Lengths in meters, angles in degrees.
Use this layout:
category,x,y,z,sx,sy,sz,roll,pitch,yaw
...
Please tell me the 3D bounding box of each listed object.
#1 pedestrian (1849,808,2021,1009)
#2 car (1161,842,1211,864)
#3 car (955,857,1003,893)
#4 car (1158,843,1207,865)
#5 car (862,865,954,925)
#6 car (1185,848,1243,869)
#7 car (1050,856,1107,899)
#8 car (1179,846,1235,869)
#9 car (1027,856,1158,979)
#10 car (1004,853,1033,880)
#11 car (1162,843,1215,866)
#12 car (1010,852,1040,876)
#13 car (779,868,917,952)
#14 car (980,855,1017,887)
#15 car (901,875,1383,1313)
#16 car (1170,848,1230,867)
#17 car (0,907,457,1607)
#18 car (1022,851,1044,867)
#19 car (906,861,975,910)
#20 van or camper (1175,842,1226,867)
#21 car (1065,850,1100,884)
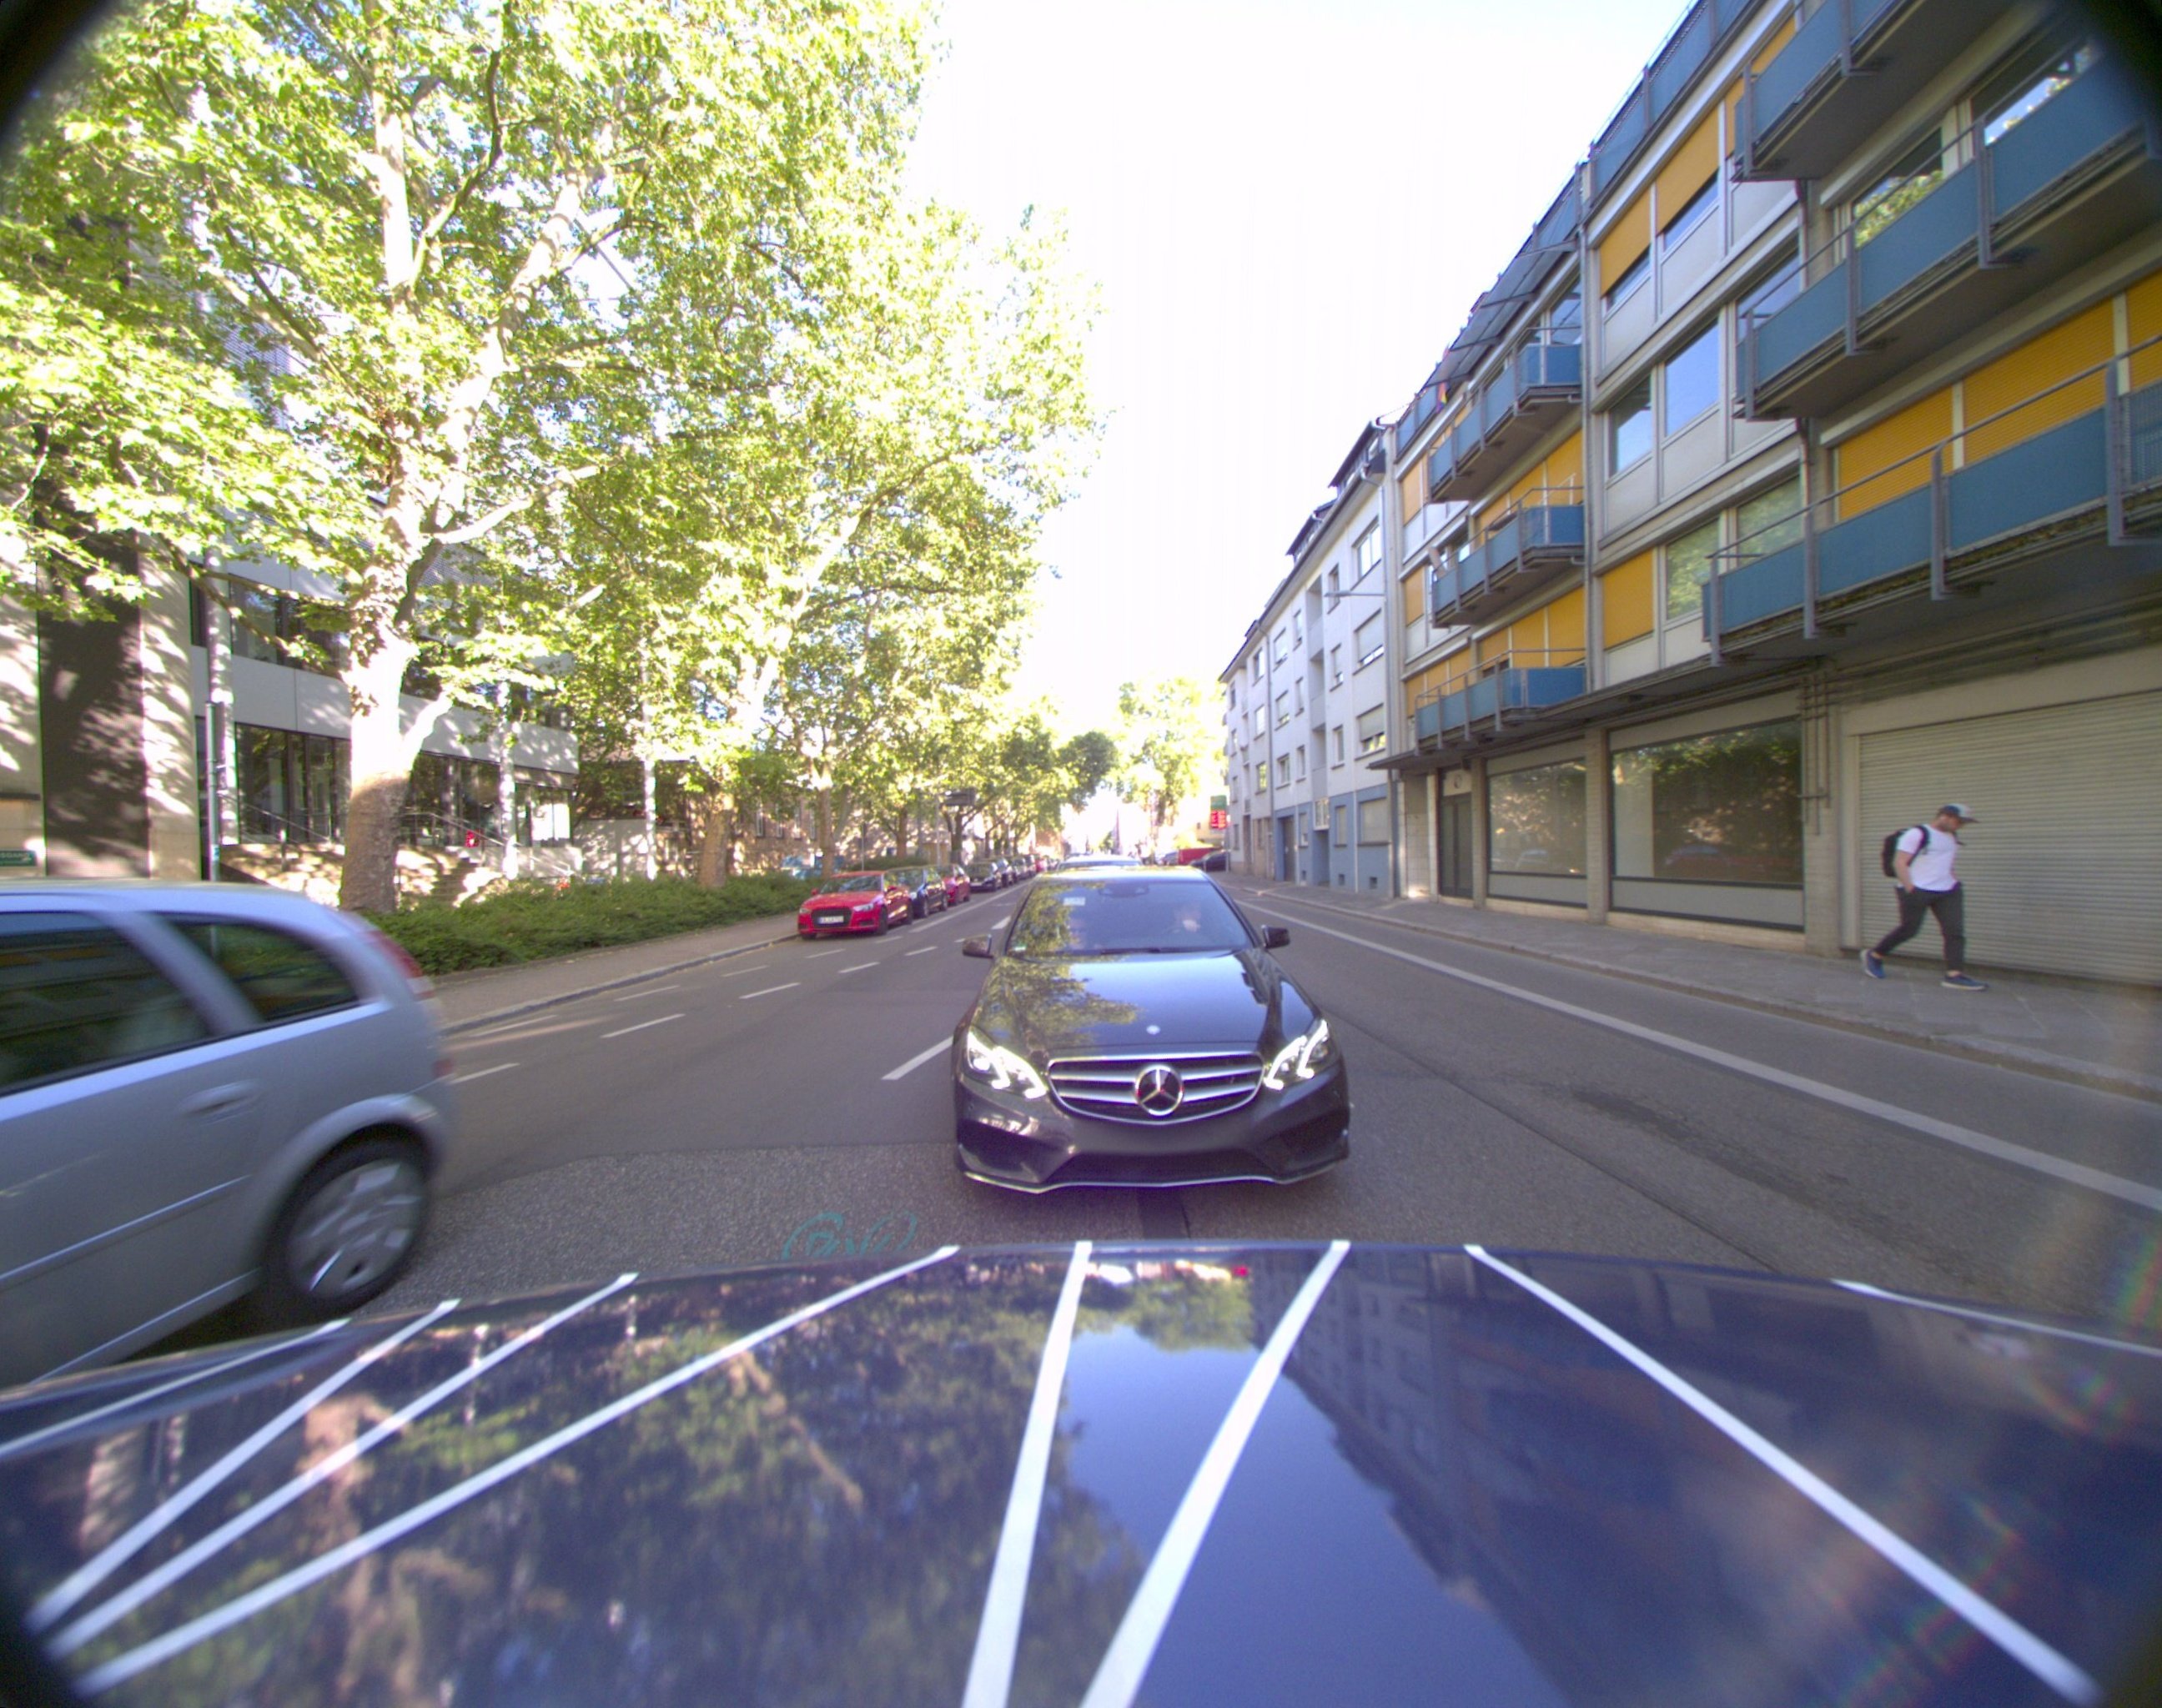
category,x,y,z,sx,sy,sz,roll,pitch,yaw
pedestrian,8.185,0.495,7.322,0.601,1.790,0.879,-3,1,1
car,11.033,-0.093,80.195,4.990,2.181,2.000,-2,1,1
car,-4.960,0.994,37.427,1.741,1.622,4.091,-2,0,0
car,11.037,0.000,82.826,4.990,2.181,2.000,-2,1,1
car,-5.027,1.138,22.603,1.741,1.444,4.091,-4,0,0
car,10.314,0.330,58.965,4.146,1.486,2.000,-2,0,1
car,-0.030,0.850,29.356,1.647,1.473,3.978,-2,0,8
car,10.137,0.276,61.296,4.146,1.681,2.000,-2,0,1
car,0.185,0.851,12.420,1.646,1.520,4.619,-4,0,1
car,-4.448,0.869,54.595,1.741,1.785,3.895,-2,0,0
car,10.913,0.033,77.343,4.990,2.181,2.000,-2,1,1
car,-4.368,0.730,59.746,1.992,1.795,4.376,-2,0,0
car,-5.220,1.178,17.636,1.830,1.519,4.142,-4,0,0
car,-4.536,0.906,42.317,1.634,1.677,3.907,-2,0,0
car,0.223,0.943,4.739,1.740,1.448,3.864,-2,0,0
car,10.481,0.281,66.992,4.990,1.486,2.000,-2,0,1
car,-3.513,1.048,1.197,1.705,1.593,3.860,-2,0,3
car,-4.384,0.444,70.450,1.741,1.469,4.091,-2,0,0
car,-5.019,1.082,27.616,1.681,1.484,3.918,-4,0,0
van or camper,10.058,0.030,64.203,3.997,2.002,2.000,-2,1,0
car,0.150,0.683,43.601,1.785,1.760,4.384,-4,0,2
